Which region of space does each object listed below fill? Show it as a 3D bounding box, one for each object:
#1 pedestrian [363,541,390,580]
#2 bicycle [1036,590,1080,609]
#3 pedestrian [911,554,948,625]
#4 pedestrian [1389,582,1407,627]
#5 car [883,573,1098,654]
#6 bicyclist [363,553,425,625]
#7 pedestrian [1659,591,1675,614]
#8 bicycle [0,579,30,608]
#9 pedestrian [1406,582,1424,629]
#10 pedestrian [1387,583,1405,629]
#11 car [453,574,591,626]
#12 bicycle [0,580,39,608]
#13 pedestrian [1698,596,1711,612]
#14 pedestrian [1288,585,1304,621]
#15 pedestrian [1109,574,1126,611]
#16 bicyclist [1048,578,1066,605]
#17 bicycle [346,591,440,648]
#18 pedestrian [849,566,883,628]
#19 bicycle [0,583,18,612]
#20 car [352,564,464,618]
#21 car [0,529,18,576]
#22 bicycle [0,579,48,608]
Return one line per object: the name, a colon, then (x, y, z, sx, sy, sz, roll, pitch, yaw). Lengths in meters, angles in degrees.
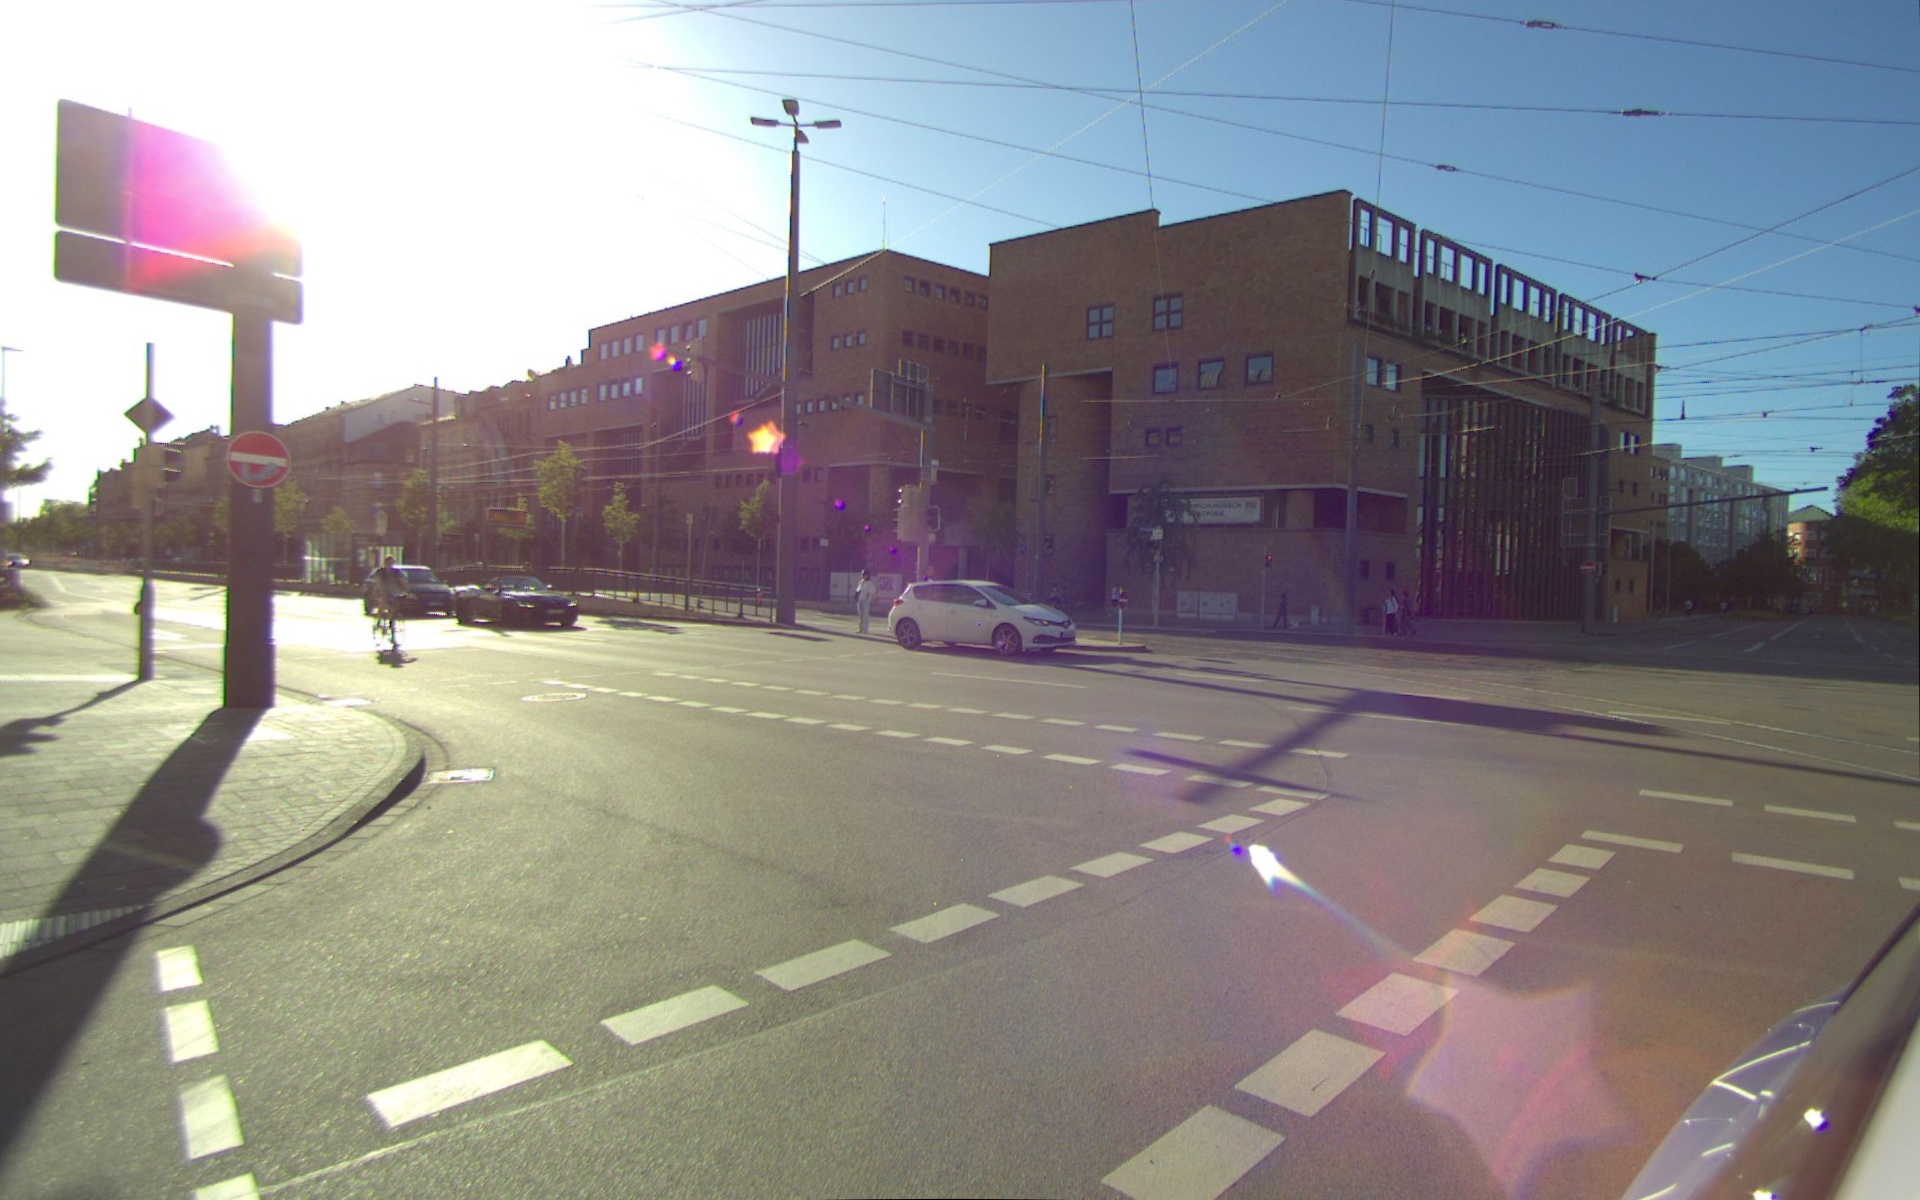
pedestrian: (-28.903, -1.951, 50.109, 0.731, 1.910, 0.854, 3, 1, 30)
bicycle: (5.105, -0.018, 52.739, 2.337, 0.915, 0.640, 2, 1, 42)
pedestrian: (-0.773, -0.271, 25.709, 0.592, 1.748, 0.712, 2, 1, 42)
pedestrian: (17.796, 0.179, 41.089, 0.545, 1.808, 0.567, 2, 1, 33)
car: (0.584, 0.209, 21.285, 4.274, 1.466, 1.821, 2, 3, 37)
bicyclist: (-11.346, -0.236, 20.281, 0.921, 1.394, 0.801, 2, 2, 39)
pedestrian: (51.303, 0.156, 73.414, 0.805, 1.626, 0.680, 2, 1, 29)
bicycle: (-30.849, -0.212, 32.060, 2.004, 0.932, 0.482, 0, 2, -39)
pedestrian: (18.033, 0.216, 40.128, 0.545, 1.808, 0.567, 2, 1, 33)
pedestrian: (17.285, 0.222, 40.127, 0.545, 1.808, 0.567, 2, 1, 33)
car: (-12.338, -0.052, 28.408, 4.209, 1.284, 1.820, 2, 3, 39)
bicycle: (-29.776, -0.189, 31.193, 2.004, 0.855, 0.482, 0, 2, -39)
pedestrian: (64.796, 0.334, 88.114, 0.810, 1.401, 0.676, 3, 1, 43)
pedestrian: (14.368, 0.124, 43.273, 0.567, 1.495, 0.545, 2, 1, 23)
pedestrian: (7.998, -0.386, 51.380, 0.572, 1.807, 0.540, 6, 3, 43)
bicyclist: (5.067, -0.449, 52.776, 0.650, 1.356, 0.638, 2, 1, 42)
bicycle: (-11.424, 0.362, 20.352, 2.497, 1.003, 0.801, 3, 2, 40)
pedestrian: (-2.443, -0.084, 26.338, 0.640, 1.596, 0.577, 2, 1, 27)
bicycle: (-29.102, -0.070, 29.768, 2.004, 0.855, 0.482, 0, 2, -39)
car: (-18.284, -0.343, 33.453, 4.209, 1.632, 1.820, 2, 3, 39)
car: (-64.881, -3.245, 67.087, 8.428, 3.035, 2.352, 3, 2, 38)
bicycle: (-31.309, -0.202, 33.223, 2.004, 0.932, 0.482, 0, 2, -39)
